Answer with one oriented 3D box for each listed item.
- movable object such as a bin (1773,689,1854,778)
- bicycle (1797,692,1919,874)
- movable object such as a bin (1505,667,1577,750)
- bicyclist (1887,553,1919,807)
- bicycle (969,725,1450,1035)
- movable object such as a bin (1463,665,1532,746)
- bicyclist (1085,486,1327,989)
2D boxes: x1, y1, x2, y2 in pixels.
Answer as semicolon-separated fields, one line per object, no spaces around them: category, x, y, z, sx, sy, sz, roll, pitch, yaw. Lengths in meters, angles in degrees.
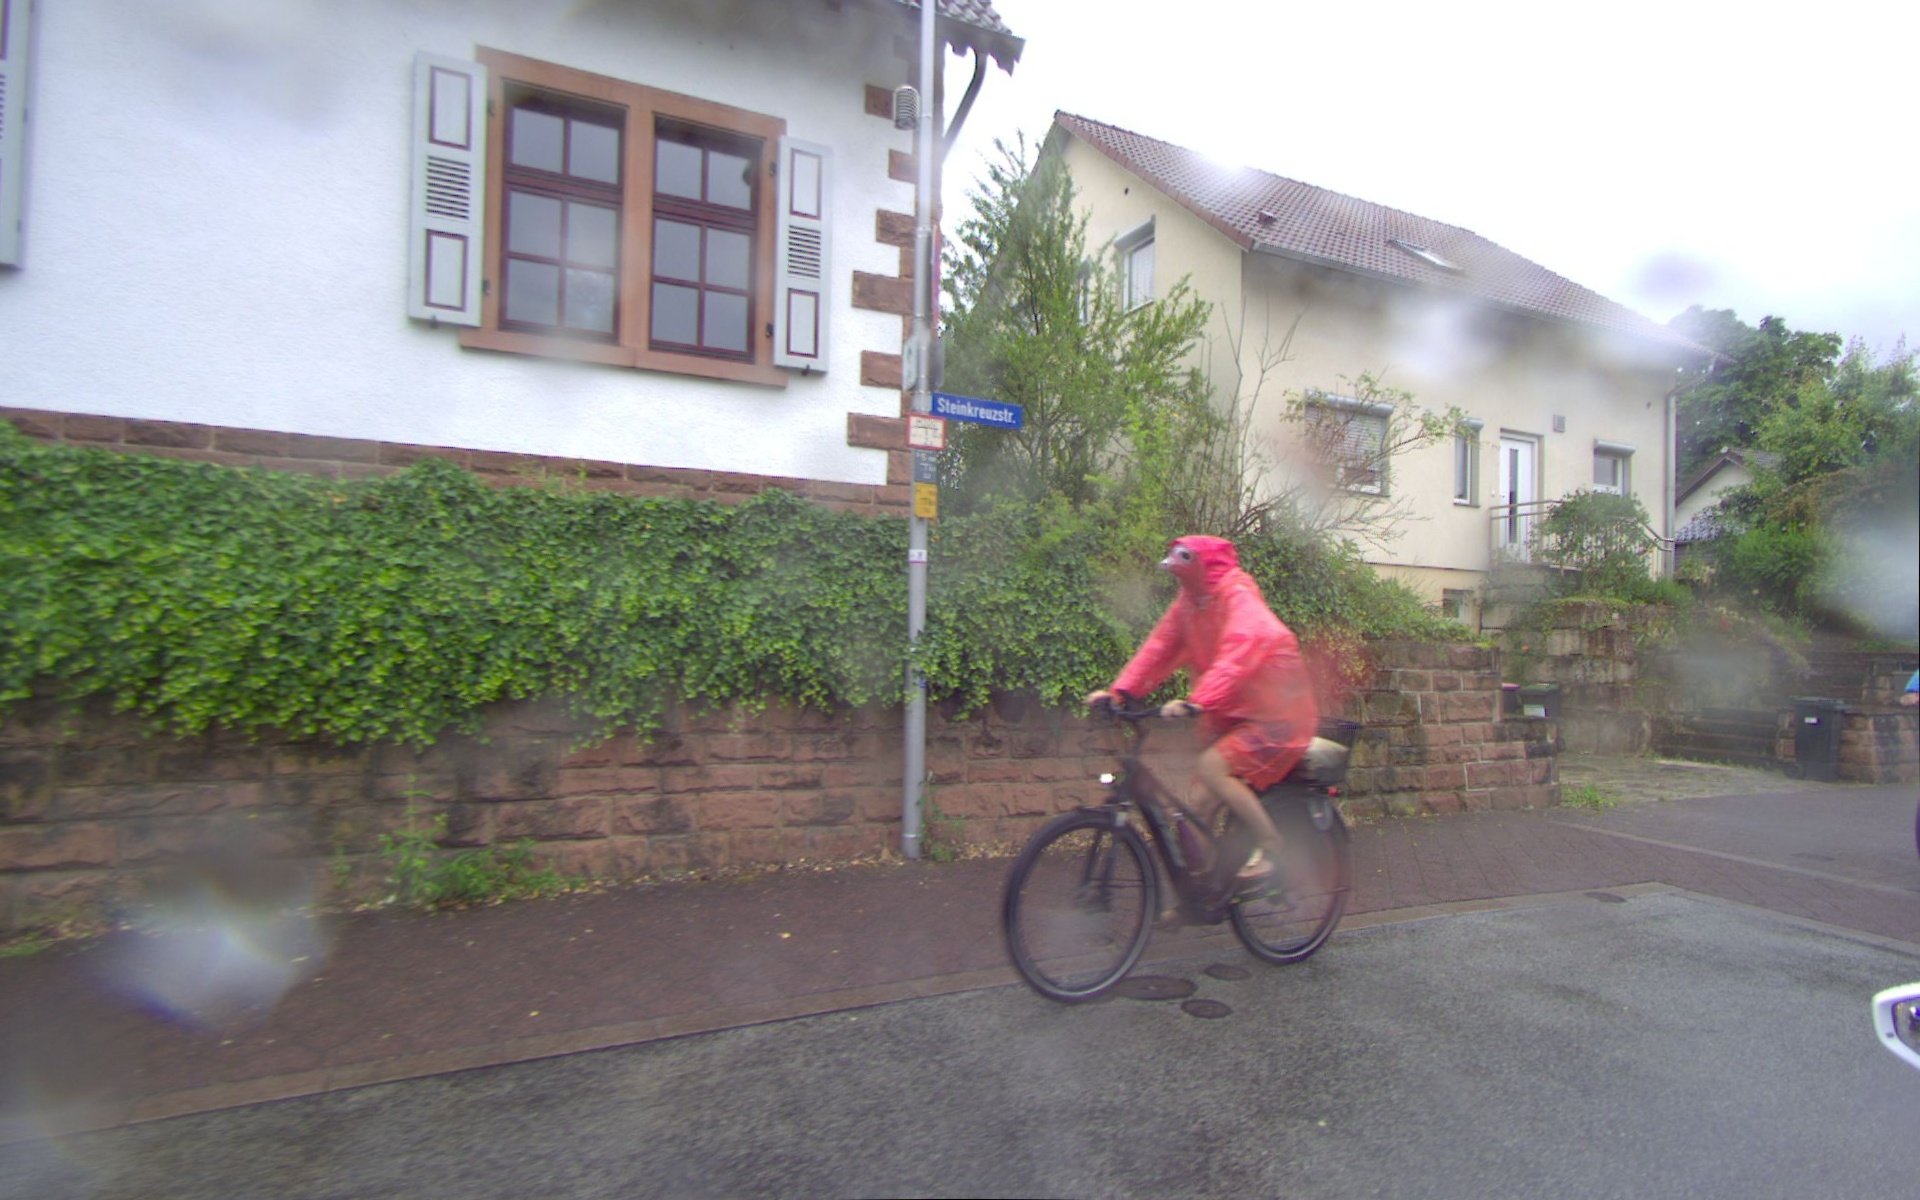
movable object such as a bin;9.782;1.519;11.519;0.537;0.942;0.536;3;-1;-27
bicycle;6.815;1.206;6.934;2.308;1.064;0.678;3;-1;-26
movable object such as a bin;8.189;1.517;14.173;0.646;1.077;0.620;0;0;-24
bicyclist;6.958;0.561;6.862;0.694;1.735;0.685;3;-1;-25
bicycle;1.035;1.022;4.063;1.908;0.882;0.659;1;0;-26
movable object such as a bin;7.907;1.538;14.776;0.640;1.122;0.606;1;0;-19
bicyclist;0.970;0.494;4.031;0.694;1.793;0.655;0;0;-25
